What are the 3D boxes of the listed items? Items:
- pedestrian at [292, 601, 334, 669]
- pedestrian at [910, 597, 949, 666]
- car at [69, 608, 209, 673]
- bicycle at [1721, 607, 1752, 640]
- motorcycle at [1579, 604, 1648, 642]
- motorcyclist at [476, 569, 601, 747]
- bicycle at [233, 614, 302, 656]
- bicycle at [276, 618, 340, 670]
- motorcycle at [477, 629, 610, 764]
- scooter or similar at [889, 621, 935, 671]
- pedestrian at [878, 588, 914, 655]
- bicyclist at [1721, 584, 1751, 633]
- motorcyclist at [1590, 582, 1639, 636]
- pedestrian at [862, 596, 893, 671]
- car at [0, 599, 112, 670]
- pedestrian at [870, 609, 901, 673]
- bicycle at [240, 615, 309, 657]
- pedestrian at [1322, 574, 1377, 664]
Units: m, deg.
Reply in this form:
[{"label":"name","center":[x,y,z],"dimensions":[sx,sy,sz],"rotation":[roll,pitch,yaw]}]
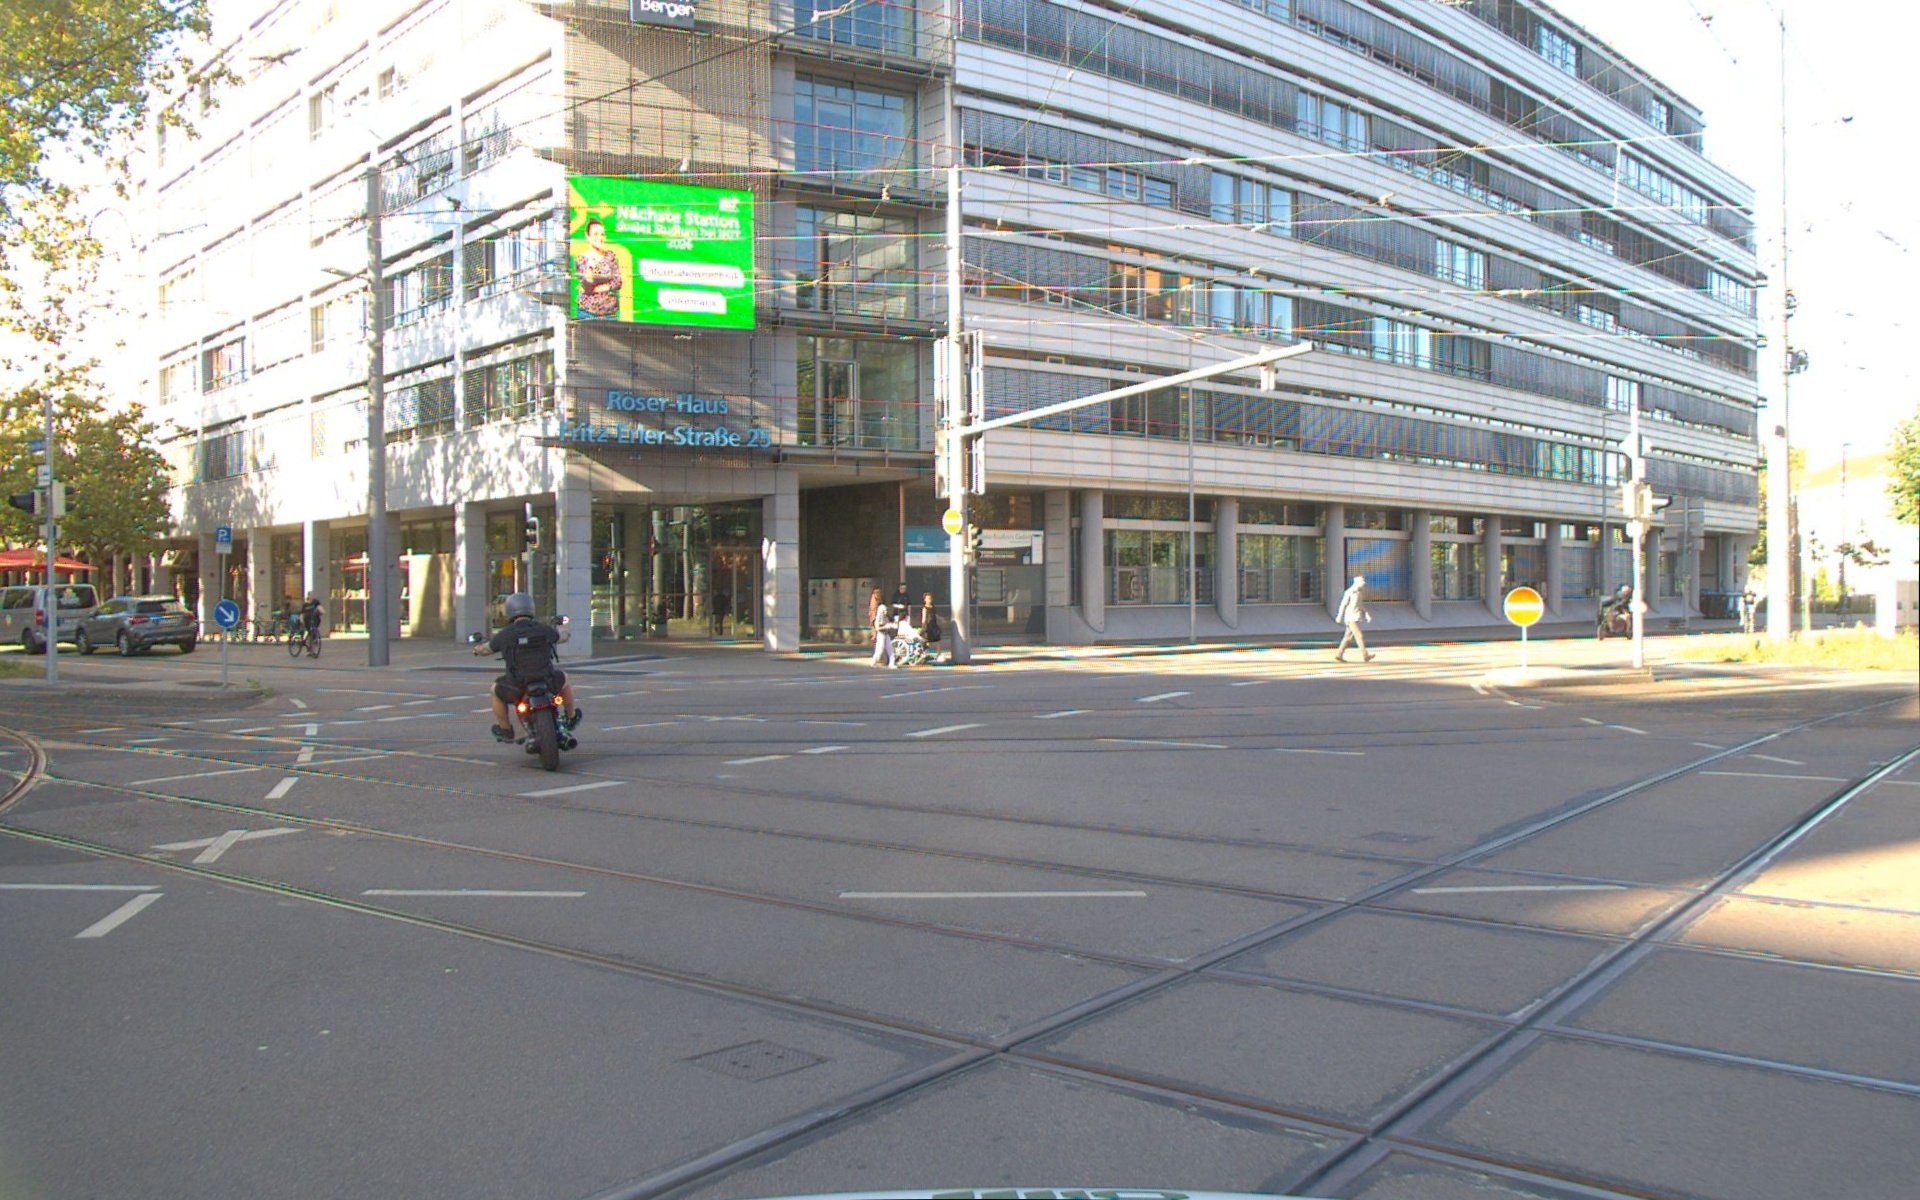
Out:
[{"label":"pedestrian","center":[-16.032,0.851,41.000],"dimensions":[0.822,1.639,0.603],"rotation":[1,3,40]},{"label":"pedestrian","center":[-0.730,0.759,39.828],"dimensions":[0.707,1.646,0.654],"rotation":[-1,-1,27]},{"label":"car","center":[-22.142,1.055,44.527],"dimensions":[4.334,1.600,1.855],"rotation":[-1,1,41]},{"label":"bicycle","center":[27.055,0.809,57.629],"dimensions":[0.632,1.127,1.677],"rotation":[0,0,38]},{"label":"motorcycle","center":[21.703,0.760,54.922],"dimensions":[2.919,1.253,0.971],"rotation":[0,-1,-43]},{"label":"motorcyclist","center":[-3.944,0.510,15.416],"dimensions":[1.007,1.579,1.279],"rotation":[1,0,-20]},{"label":"bicycle","center":[-20.462,1.031,48.898],"dimensions":[0.462,1.172,1.827],"rotation":[0,1,43]},{"label":"bicycle","center":[-16.121,1.074,40.857],"dimensions":[1.812,1.183,0.610],"rotation":[1,3,39]},{"label":"motorcycle","center":[-3.931,0.850,15.456],"dimensions":[0.991,1.145,2.309],"rotation":[1,-1,-20]},{"label":"scooter or similar","center":[-1.117,1.068,38.428],"dimensions":[0.993,1.149,0.551],"rotation":[0,-1,8]},{"label":"pedestrian","center":[-1.673,0.552,43.249],"dimensions":[0.633,1.745,0.687],"rotation":[-1,-1,38]},{"label":"bicyclist","center":[27.046,0.289,57.624],"dimensions":[0.751,1.696,0.989],"rotation":[-1,-1,38]},{"label":"motorcyclist","center":[21.760,0.311,54.973],"dimensions":[1.448,1.761,1.006],"rotation":[1,-1,-43]},{"label":"pedestrian","center":[-1.927,0.768,38.528],"dimensions":[0.622,1.738,0.582],"rotation":[0,-1,7]},{"label":"car","center":[-26.621,0.976,47.737],"dimensions":[4.829,1.875,1.920],"rotation":[-1,1,38]},{"label":"pedestrian","center":[-1.681,0.924,37.531],"dimensions":[0.622,1.426,0.547],"rotation":[0,-1,7]},{"label":"bicycle","center":[-20.123,1.037,48.573],"dimensions":[0.462,1.172,1.827],"rotation":[0,1,43]},{"label":"pedestrian","center":[8.122,0.403,34.508],"dimensions":[0.869,1.855,0.673],"rotation":[-3,-3,42]}]
